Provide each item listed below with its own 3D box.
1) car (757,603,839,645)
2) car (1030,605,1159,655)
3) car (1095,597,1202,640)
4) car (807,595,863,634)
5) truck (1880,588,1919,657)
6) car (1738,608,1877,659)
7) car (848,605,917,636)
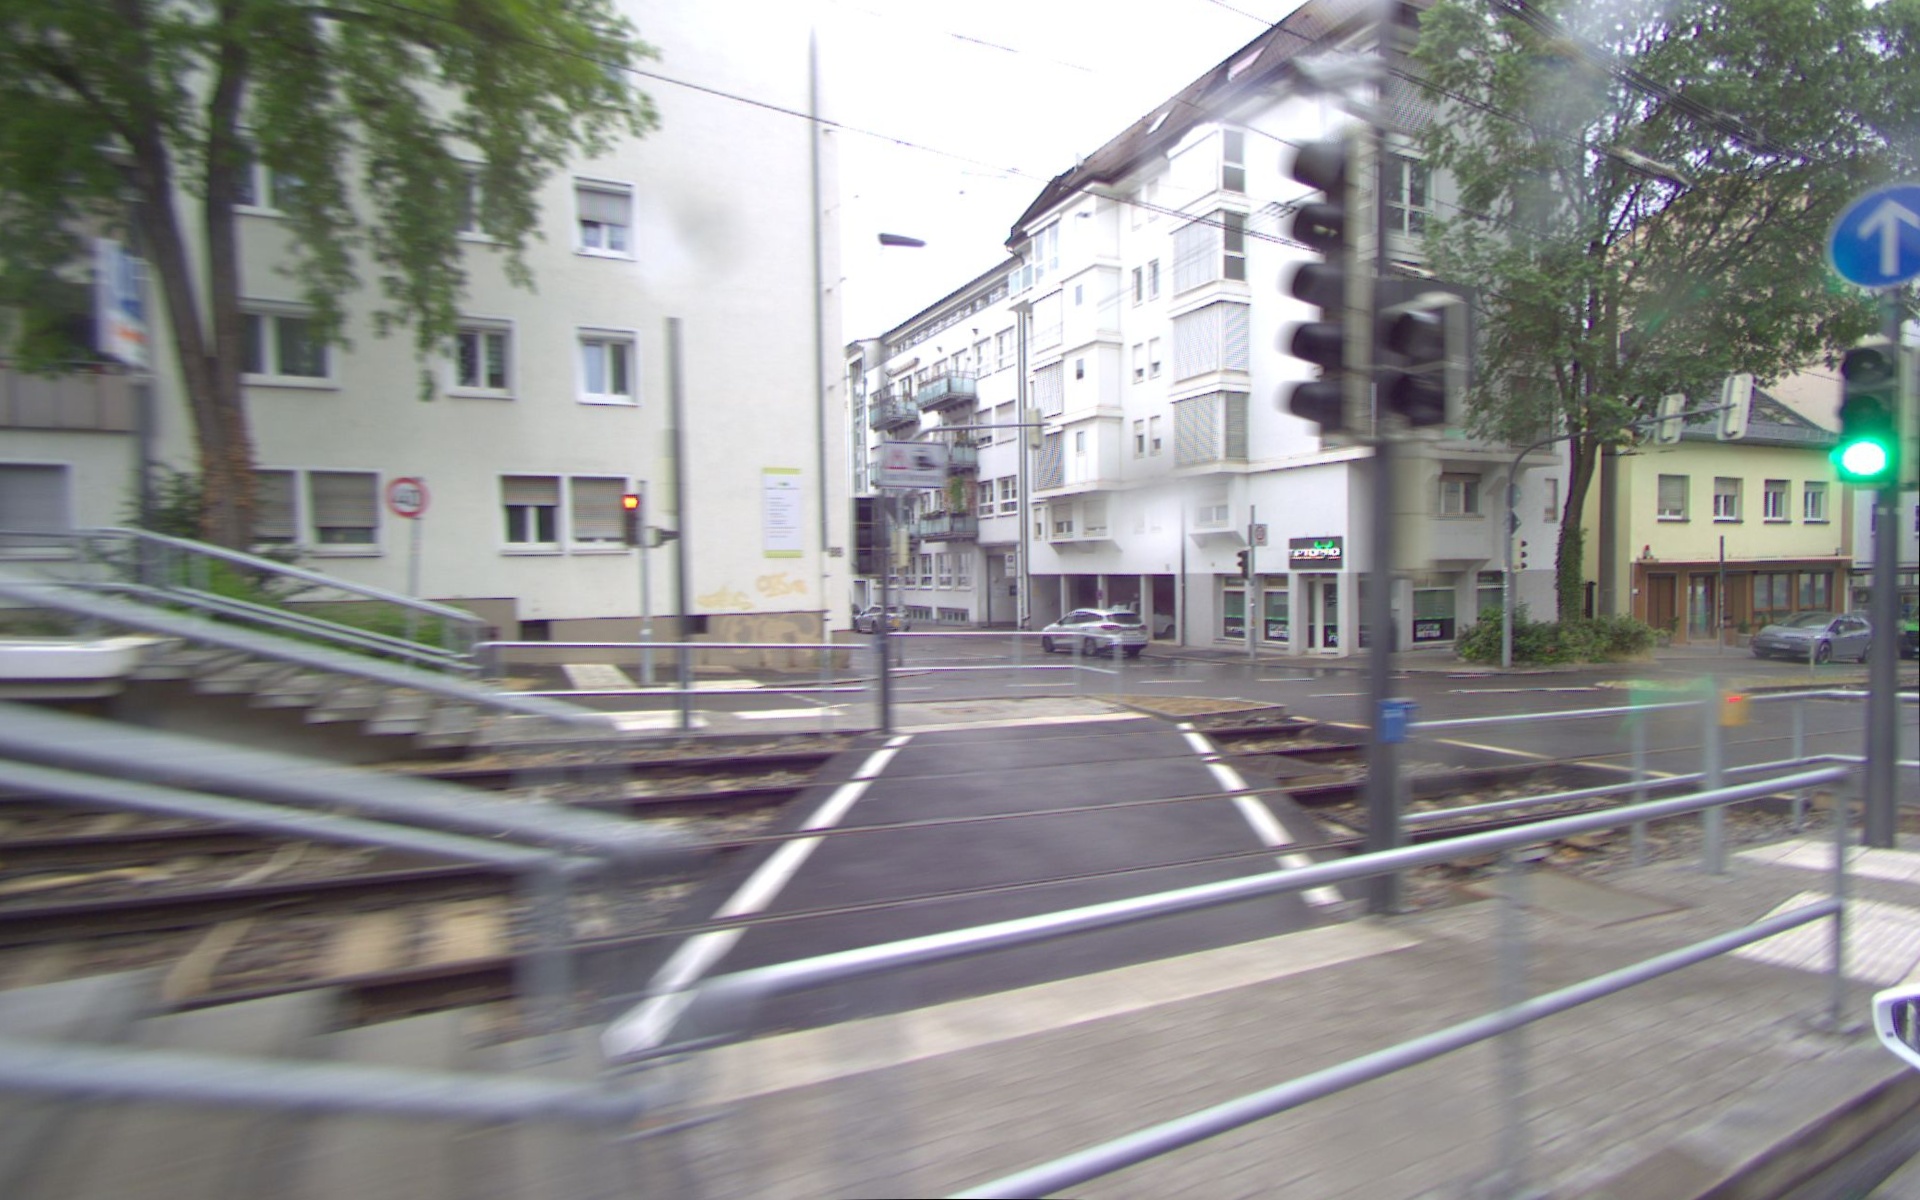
[{"bbox_3d":[-6.448,0.917,39.486,1.973,1.521,4.700,1,-1,-25],"label":"car"},{"bbox_3d":[4.299,0.928,32.854,1.973,1.492,4.700,1,-1,-25],"label":"car"},{"bbox_3d":[7.295,0.722,38.750,3.955,1.555,1.691,1,-1,-31],"label":"car"},{"bbox_3d":[-7.015,0.803,55.927,1.845,2.040,4.425,1,-1,-25],"label":"car"},{"bbox_3d":[36.245,0.872,36.297,6.232,2.425,2.046,2,0,-23],"label":"truck"},{"bbox_3d":[27.127,1.044,32.124,4.435,1.535,1.721,1,0,-25],"label":"car"},{"bbox_3d":[-3.971,1.007,50.608,1.973,1.472,4.700,1,-1,-25],"label":"car"}]
